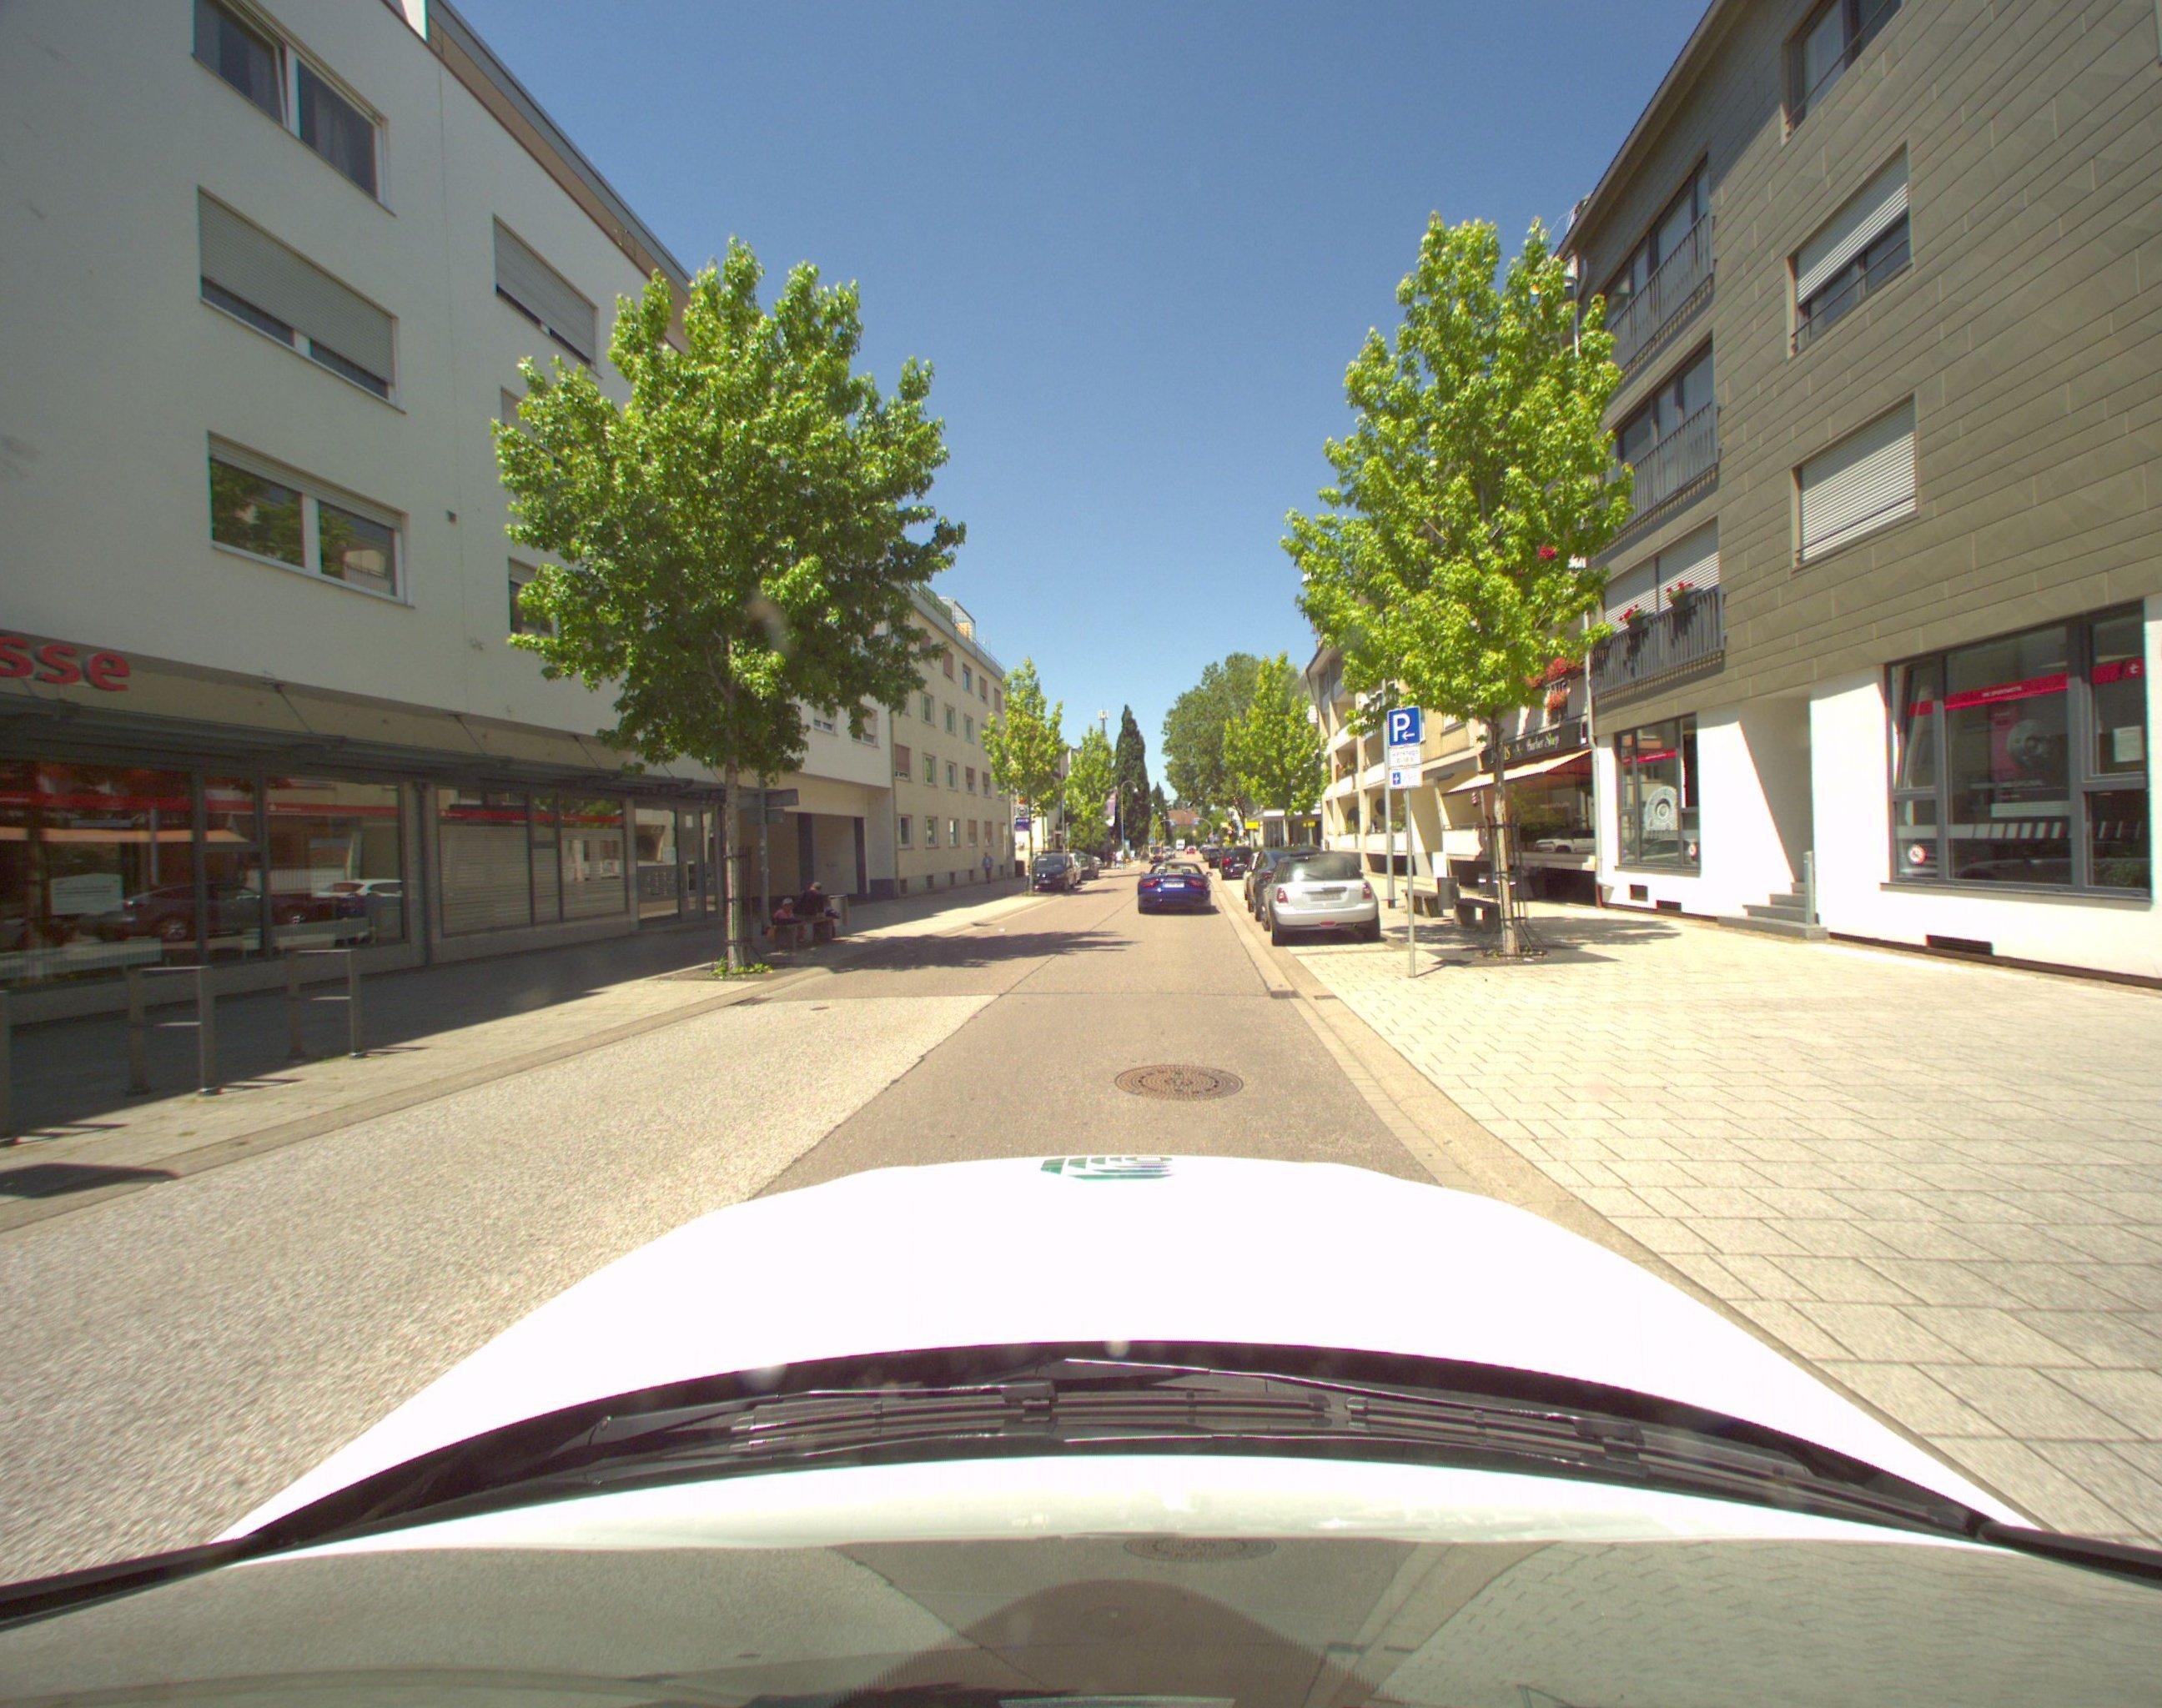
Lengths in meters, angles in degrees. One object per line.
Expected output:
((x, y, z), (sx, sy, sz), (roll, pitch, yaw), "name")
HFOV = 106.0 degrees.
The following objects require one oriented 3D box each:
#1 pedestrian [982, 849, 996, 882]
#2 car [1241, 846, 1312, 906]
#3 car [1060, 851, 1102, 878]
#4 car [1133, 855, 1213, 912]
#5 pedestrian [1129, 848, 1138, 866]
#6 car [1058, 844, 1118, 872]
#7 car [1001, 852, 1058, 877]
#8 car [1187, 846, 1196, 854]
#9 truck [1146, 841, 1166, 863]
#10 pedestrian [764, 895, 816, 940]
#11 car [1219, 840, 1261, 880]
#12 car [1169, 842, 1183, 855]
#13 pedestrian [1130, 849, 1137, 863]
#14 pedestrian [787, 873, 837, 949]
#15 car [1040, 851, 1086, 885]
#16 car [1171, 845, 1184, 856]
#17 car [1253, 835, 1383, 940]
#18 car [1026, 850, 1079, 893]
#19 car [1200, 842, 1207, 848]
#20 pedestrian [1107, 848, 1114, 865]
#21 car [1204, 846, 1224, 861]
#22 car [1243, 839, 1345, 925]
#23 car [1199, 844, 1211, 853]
((-4.942, 0.619, 43.733), (0.656, 1.680, 0.629), (-4, 2, -10), "pedestrian")
((5.806, 0.597, 24.546), (1.712, 1.583, 4.236), (-3, 0, 9), "car")
((0.033, 0.595, 48.441), (1.743, 1.474, 4.334), (0, 1, 10), "car")
((2.529, 0.755, 22.393), (1.966, 1.398, 4.635), (0, -1, 6), "car")
((5.633, 0.331, 87.866), (0.844, 1.915, 0.763), (-3, 2, 7), "pedestrian")
((0.497, 0.358, 62.521), (1.922, 1.922, 4.849), (-3, 0, -38), "car")
((-3.903, 0.799, 61.859), (4.039, 1.823, 1.763), (0, 0, 6), "car")
((21.851, -0.825, 161.129), (1.760, 1.476, 4.146), (-1, 0, 7), "car")
((8.098, -0.229, 87.637), (1.794, 2.117, 4.726), (-3, 1, 8), "truck")
((-5.838, 1.267, 16.343), (0.659, 0.858, 0.736), (-3, -4, 17), "pedestrian")
((8.274, 0.264, 42.669), (1.981, 1.798, 4.582), (-3, 2, 10), "car")
((13.206, -0.774, 113.365), (1.760, 1.767, 4.145), (-3, 1, 7), "car")
((5.660, 0.218, 87.867), (0.584, 1.574, 0.783), (-2, 0, 7), "pedestrian")
((-5.093, 1.074, 15.451), (0.563, 1.372, 0.670), (-3, -1, 17), "pedestrian")
((-0.881, 0.671, 42.289), (1.814, 1.619, 4.401), (0, 1, 6), "car")
((14.815, -0.520, 125.045), (1.760, 1.476, 4.146), (-3, 0, 7), "car")
((4.018, 0.506, 14.379), (1.613, 1.559, 3.849), (-2, 0, 8), "car")
((-1.226, 0.732, 36.619), (1.720, 1.740, 4.401), (1, 1, 6), "car")
((36.525, -2.722, 242.606), (1.939, 1.476, 4.148), (-3, 0, 9), "car")
((2.502, 0.221, 69.509), (0.577, 1.474, 0.564), (-2, 0, 2), "pedestrian")
((14.461, -0.048, 88.965), (1.965, 1.450, 4.359), (-4, 1, 8), "car")
((4.872, 0.564, 19.226), (1.754, 1.705, 4.716), (-3, 0, 8), "car")
((22.156, -0.912, 145.518), (1.940, 1.476, 4.146), (-3, 0, 7), "car")
